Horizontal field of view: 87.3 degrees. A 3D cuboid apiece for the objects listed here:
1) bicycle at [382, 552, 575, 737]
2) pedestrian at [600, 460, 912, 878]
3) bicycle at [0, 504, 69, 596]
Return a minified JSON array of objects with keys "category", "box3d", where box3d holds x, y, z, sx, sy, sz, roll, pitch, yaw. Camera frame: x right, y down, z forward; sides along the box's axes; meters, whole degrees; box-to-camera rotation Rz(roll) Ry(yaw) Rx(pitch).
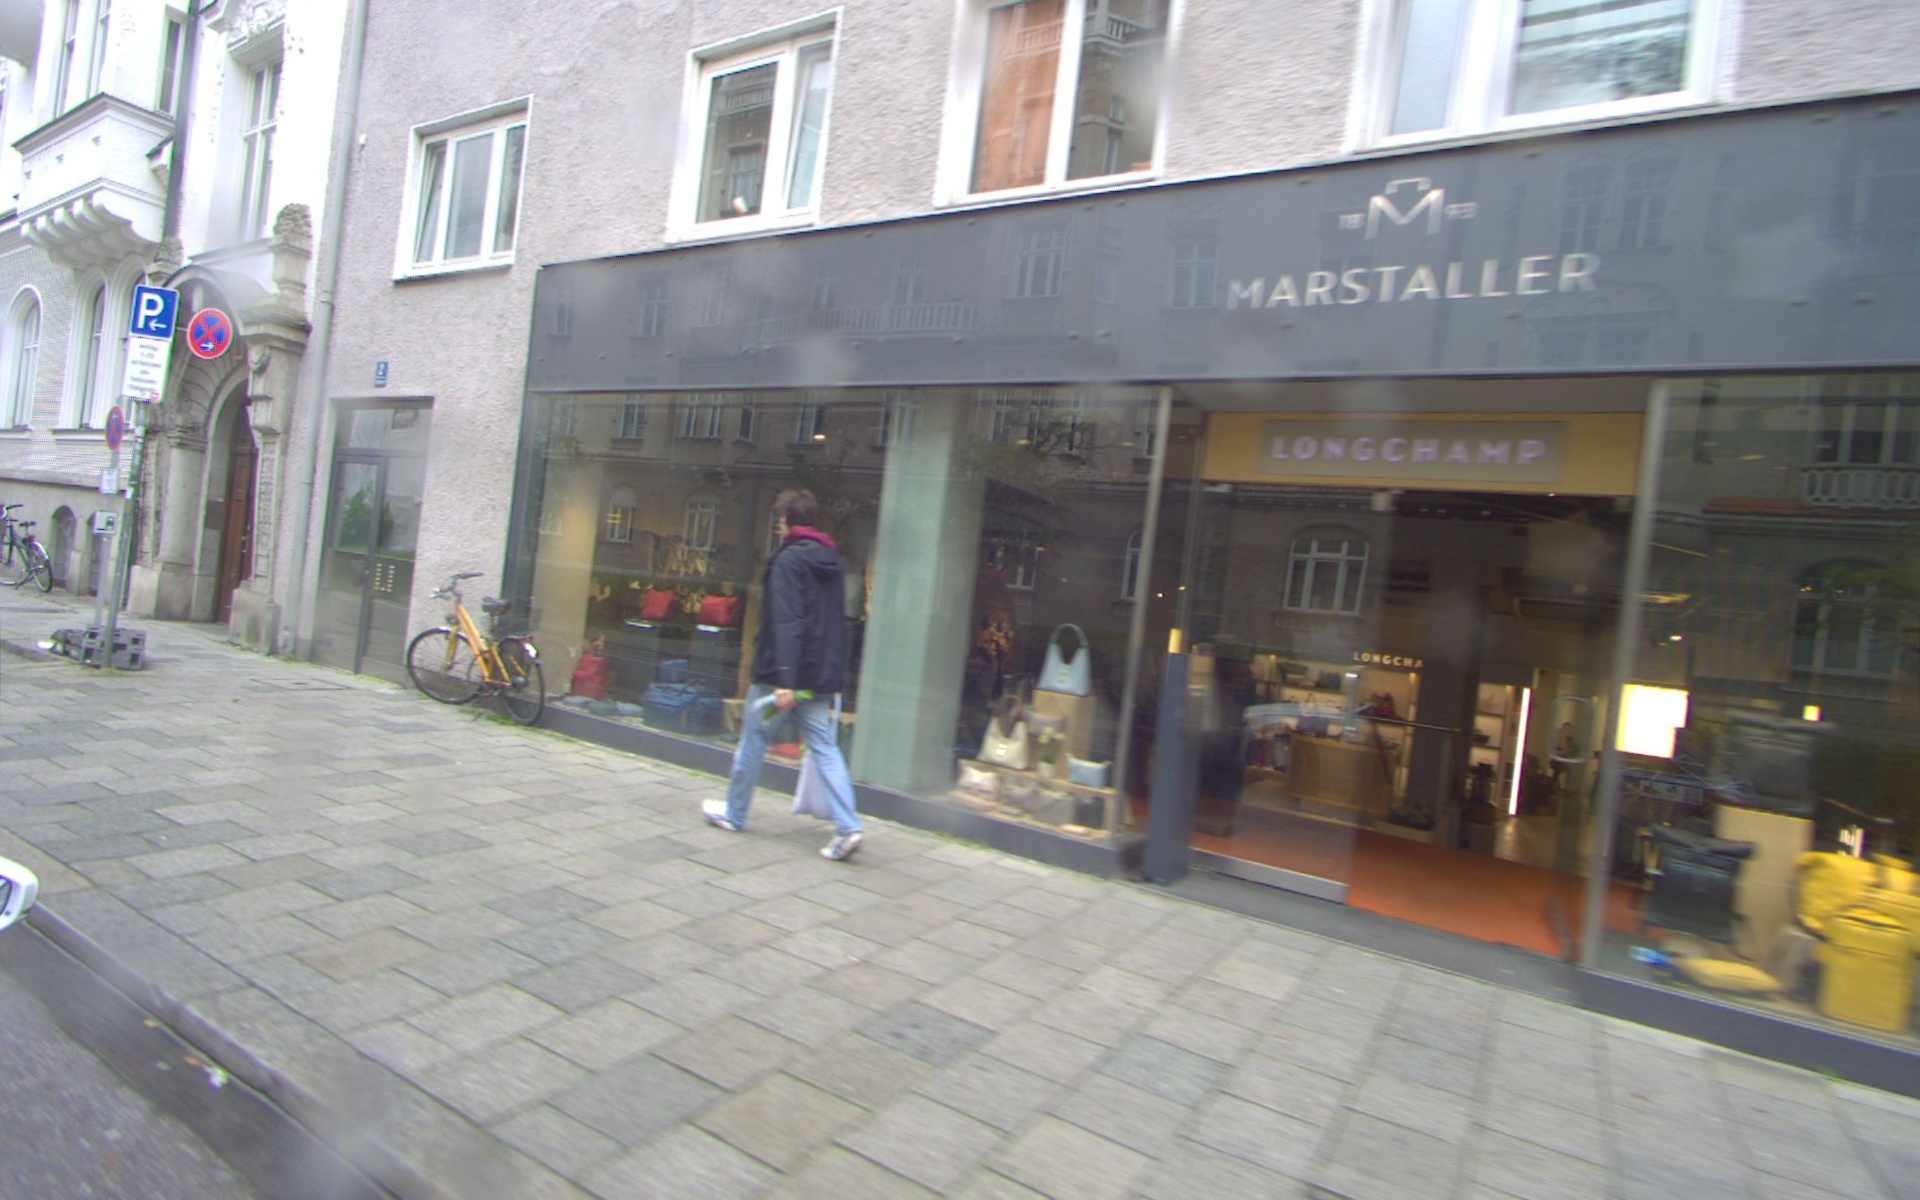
[{"category":"bicycle","box3d":[-3.982,0.319,8.265,1.790,1.277,0.512,7,4,32]},{"category":"pedestrian","box3d":[-1.085,0.307,5.385,1.159,1.935,0.928,7,2,32]},{"category":"bicycle","box3d":[-13.865,-0.758,14.698,1.889,1.223,0.660,6,4,29]}]
